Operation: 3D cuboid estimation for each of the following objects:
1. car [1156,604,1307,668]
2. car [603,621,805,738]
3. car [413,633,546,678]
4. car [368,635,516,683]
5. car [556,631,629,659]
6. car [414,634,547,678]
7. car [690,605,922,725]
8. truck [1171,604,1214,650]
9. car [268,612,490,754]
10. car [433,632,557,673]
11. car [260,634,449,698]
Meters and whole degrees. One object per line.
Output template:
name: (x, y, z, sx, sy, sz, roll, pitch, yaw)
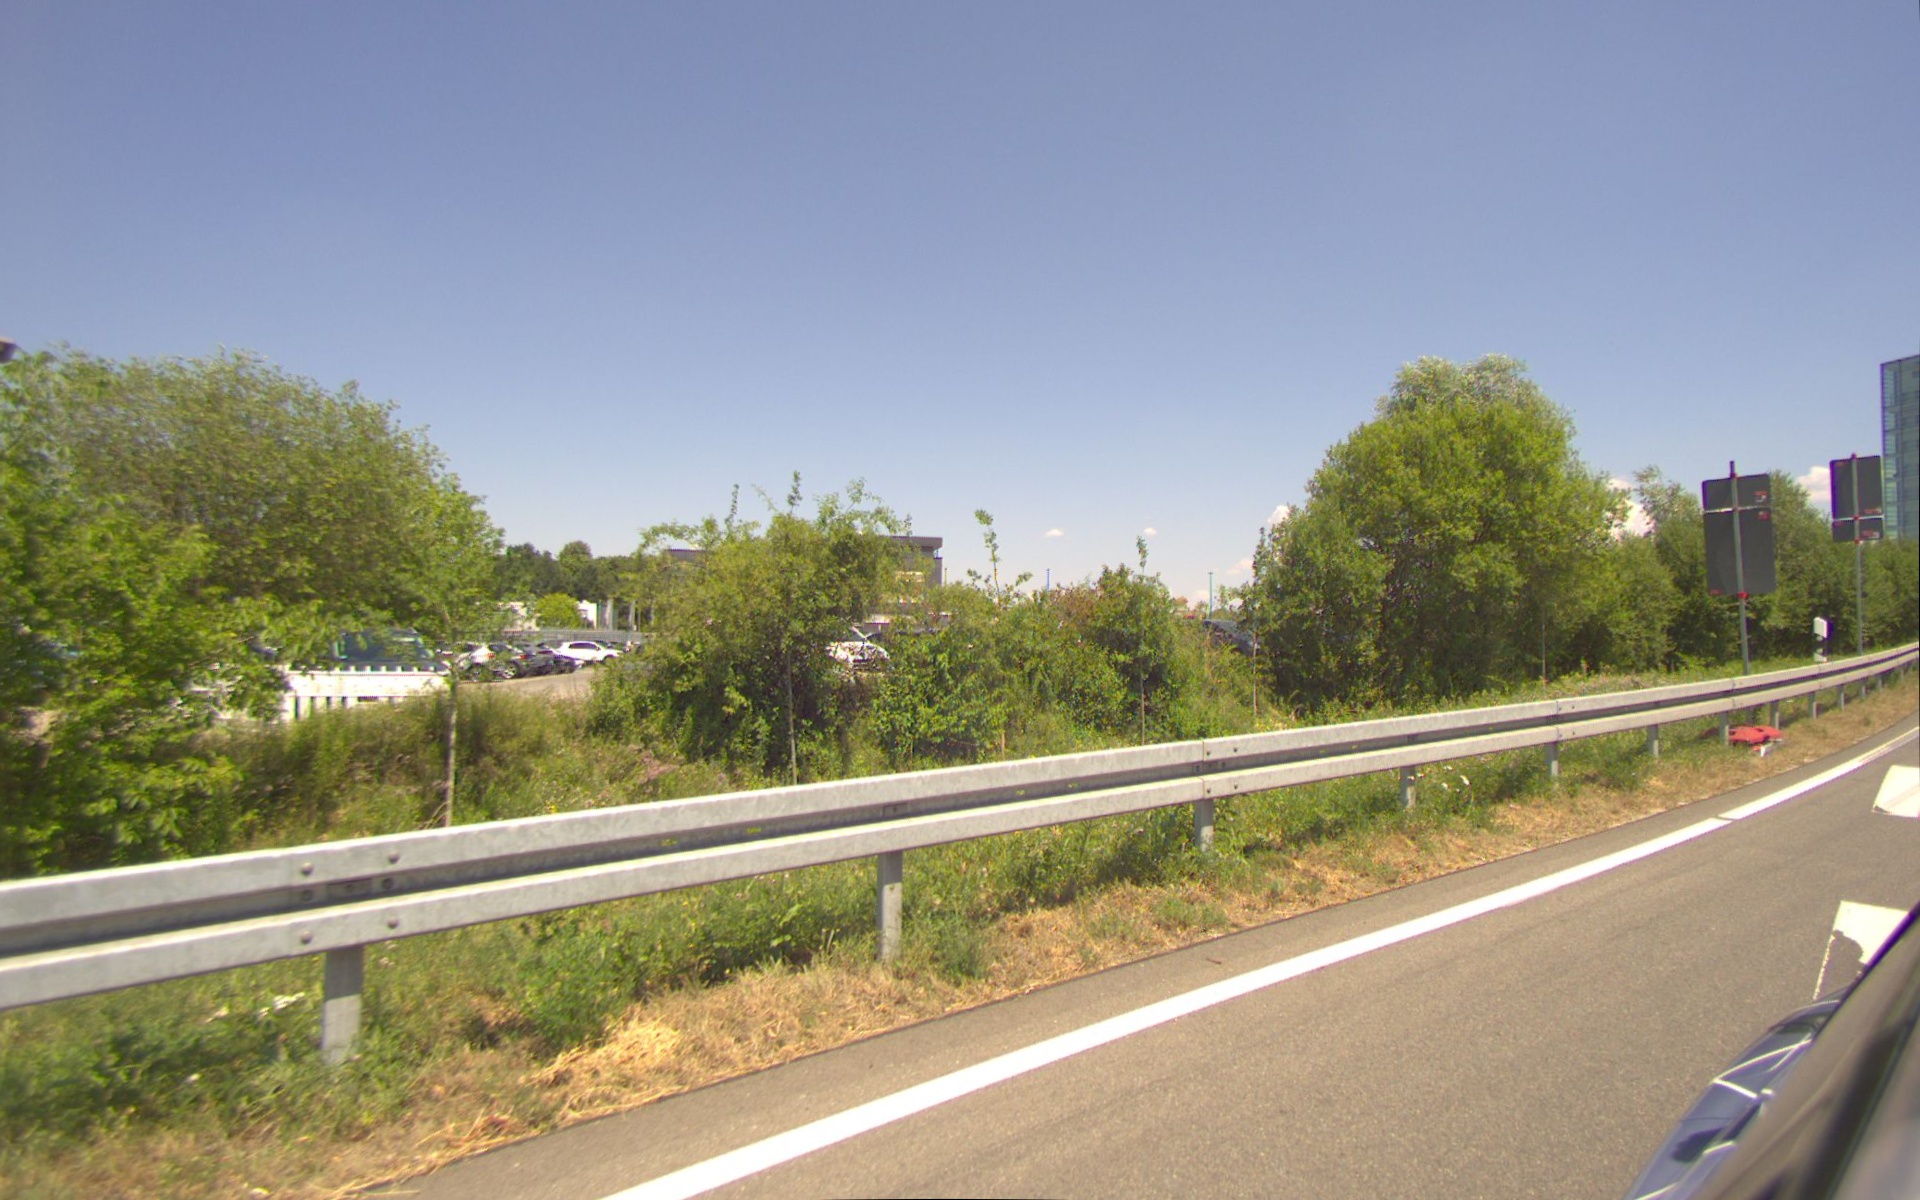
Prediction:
car: (9.079, 1.223, 34.152, 1.964, 1.994, 4.687, 3, -4, -39)
car: (-5.045, 1.453, 19.595, 1.965, 1.994, 4.299, 4, -4, -42)
car: (-18.338, 2.101, 38.804, 4.254, 1.576, 1.950, 0, 0, -9)
car: (-18.200, 2.046, 35.752, 4.254, 1.576, 1.950, 0, 0, -9)
car: (-22.100, 2.675, 60.970, 3.916, 1.588, 1.951, 0, 0, -12)
car: (-18.316, 2.116, 38.832, 4.254, 1.564, 1.950, 0, 0, -9)
car: (-3.423, 1.333, 21.800, 5.213, 2.288, 2.102, -2, -4, 42)
truck: (19.991, 2.416, 87.324, 3.080, 3.733, 9.386, 0, -3, 10)
car: (-9.390, 1.236, 16.183, 2.029, 1.939, 4.435, 4, -4, -43)
car: (-19.002, 2.118, 41.552, 4.254, 1.576, 1.950, 0, 0, -9)
car: (-16.507, 1.762, 27.798, 4.003, 1.588, 1.951, 0, 0, -11)
